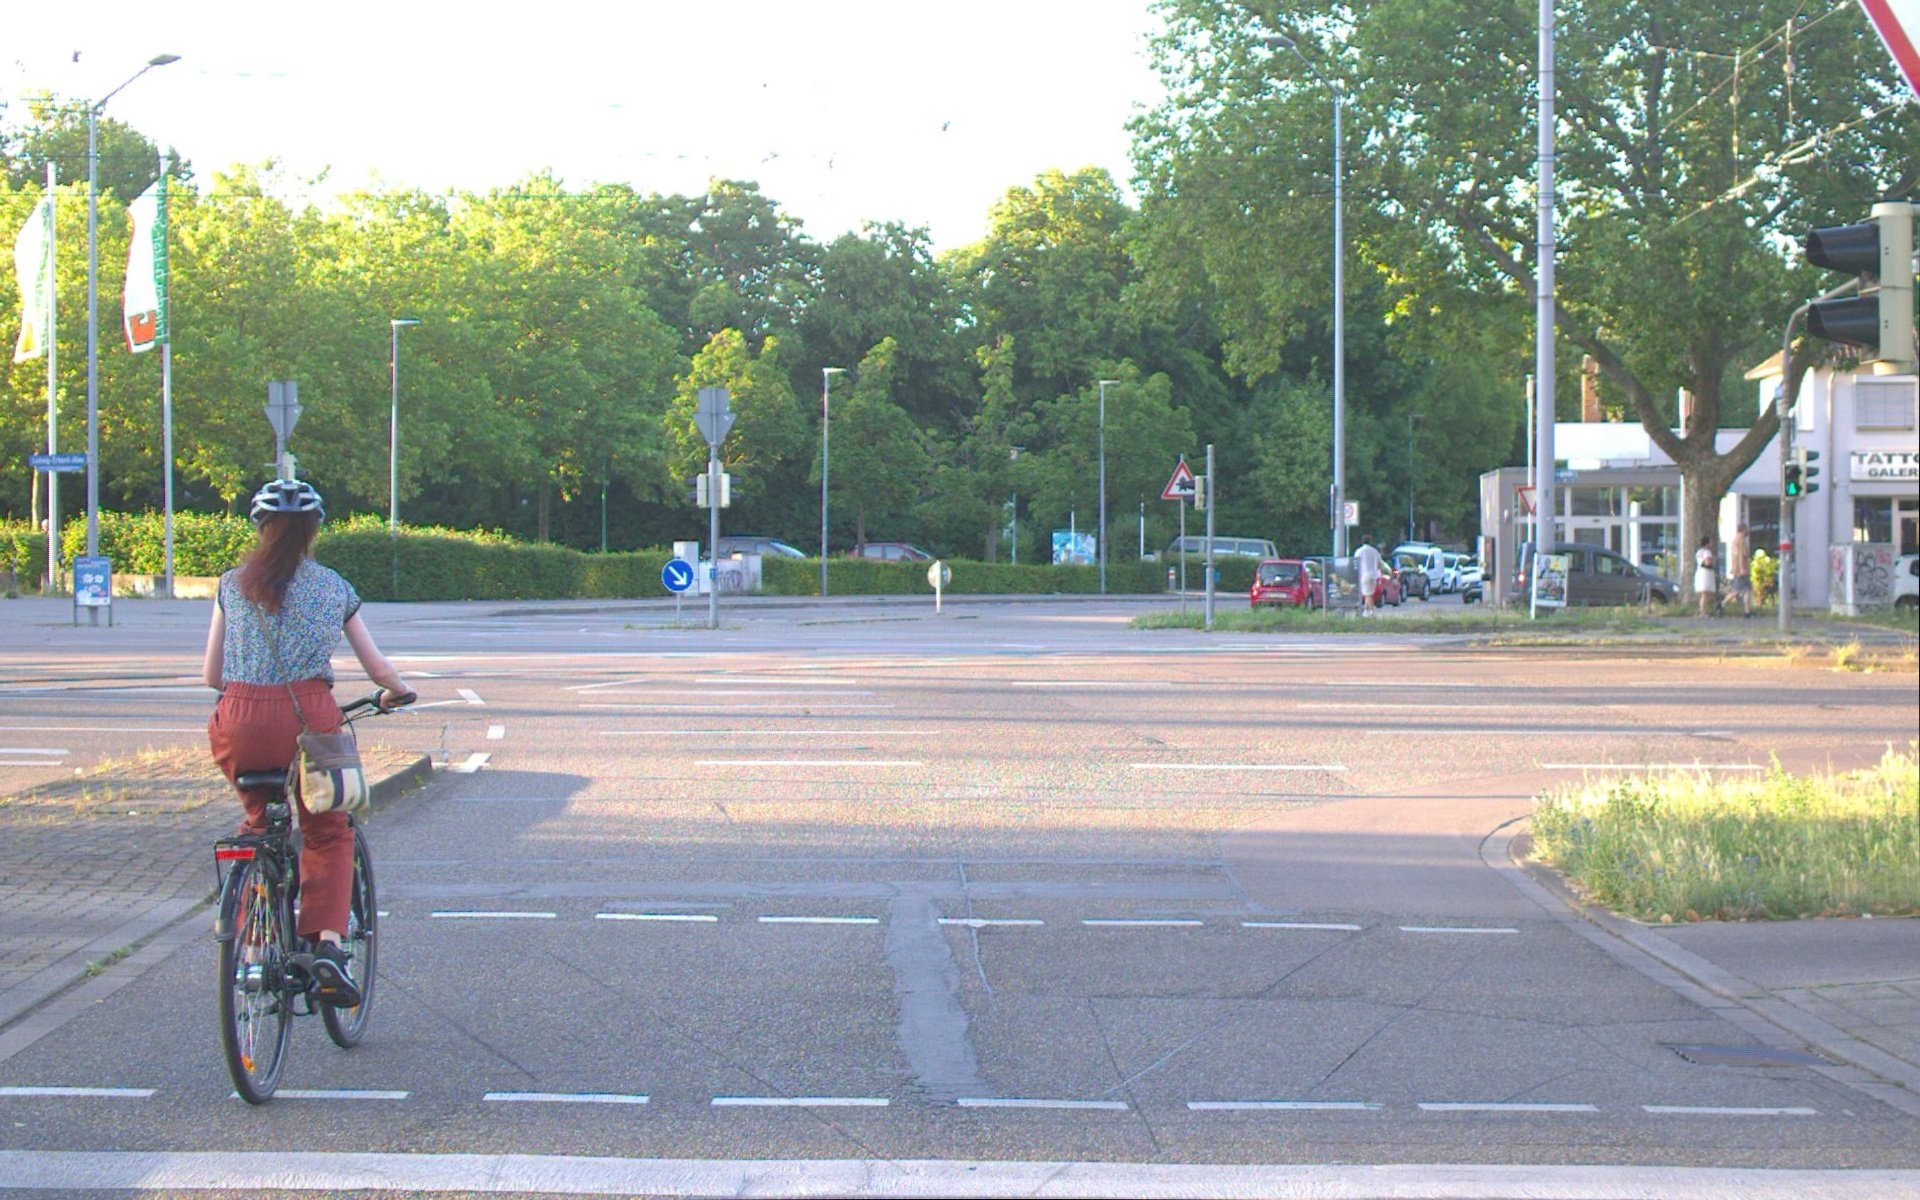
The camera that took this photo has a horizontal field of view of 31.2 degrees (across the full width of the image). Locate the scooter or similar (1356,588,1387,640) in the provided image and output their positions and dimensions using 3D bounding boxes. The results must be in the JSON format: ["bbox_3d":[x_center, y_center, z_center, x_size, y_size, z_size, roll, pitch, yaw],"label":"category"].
[{"bbox_3d":[8.837,0.304,73.850,0.510,1.086,1.243,0,1,0],"label":"scooter or similar"}]

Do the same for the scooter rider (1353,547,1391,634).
[{"bbox_3d":[8.855,-0.206,73.904,0.702,1.848,0.669,0,0,0],"label":"scooter rider"}]

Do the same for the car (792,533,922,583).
[{"bbox_3d":[-3.219,-1.326,108.119,3.987,1.555,2.000,0,1,1],"label":"car"}]

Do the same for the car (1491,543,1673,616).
[{"bbox_3d":[15.800,-0.530,87.511,4.378,1.828,1.948,0,1,5],"label":"car"}]

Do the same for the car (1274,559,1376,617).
[{"bbox_3d":[10.428,-0.361,98.061,1.995,1.568,3.996,1,1,19],"label":"car"}]

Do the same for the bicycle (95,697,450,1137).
[{"bbox_3d":[-1.967,0.865,10.112,0.634,1.064,2.122,0,1,0],"label":"bicycle"}]

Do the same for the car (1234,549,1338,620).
[{"bbox_3d":[8.958,-0.452,94.217,1.870,1.868,3.870,1,1,21],"label":"car"}]

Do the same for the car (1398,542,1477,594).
[{"bbox_3d":[18.647,-1.255,134.187,1.996,2.007,3.995,1,1,25],"label":"car"}]

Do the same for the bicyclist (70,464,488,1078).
[{"bbox_3d":[-1.970,0.471,10.103,1.031,1.712,0.996,0,1,0],"label":"bicyclist"}]

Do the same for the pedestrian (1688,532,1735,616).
[{"bbox_3d":[14.749,-0.517,67.486,0.719,1.633,0.896,1,1,24],"label":"pedestrian"}]

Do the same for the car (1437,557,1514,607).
[{"bbox_3d":[17.098,-0.600,113.991,1.916,1.597,3.997,1,1,17],"label":"car"}]

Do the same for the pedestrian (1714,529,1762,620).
[{"bbox_3d":[15.016,-0.497,66.334,0.719,1.748,0.896,1,1,24],"label":"pedestrian"}]

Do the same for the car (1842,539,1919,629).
[{"bbox_3d":[20.573,-0.331,71.009,4.230,1.840,2.000,0,1,2],"label":"car"}]

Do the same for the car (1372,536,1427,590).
[{"bbox_3d":[16.560,-1.417,129.722,1.994,2.007,3.999,0,1,7],"label":"car"}]
